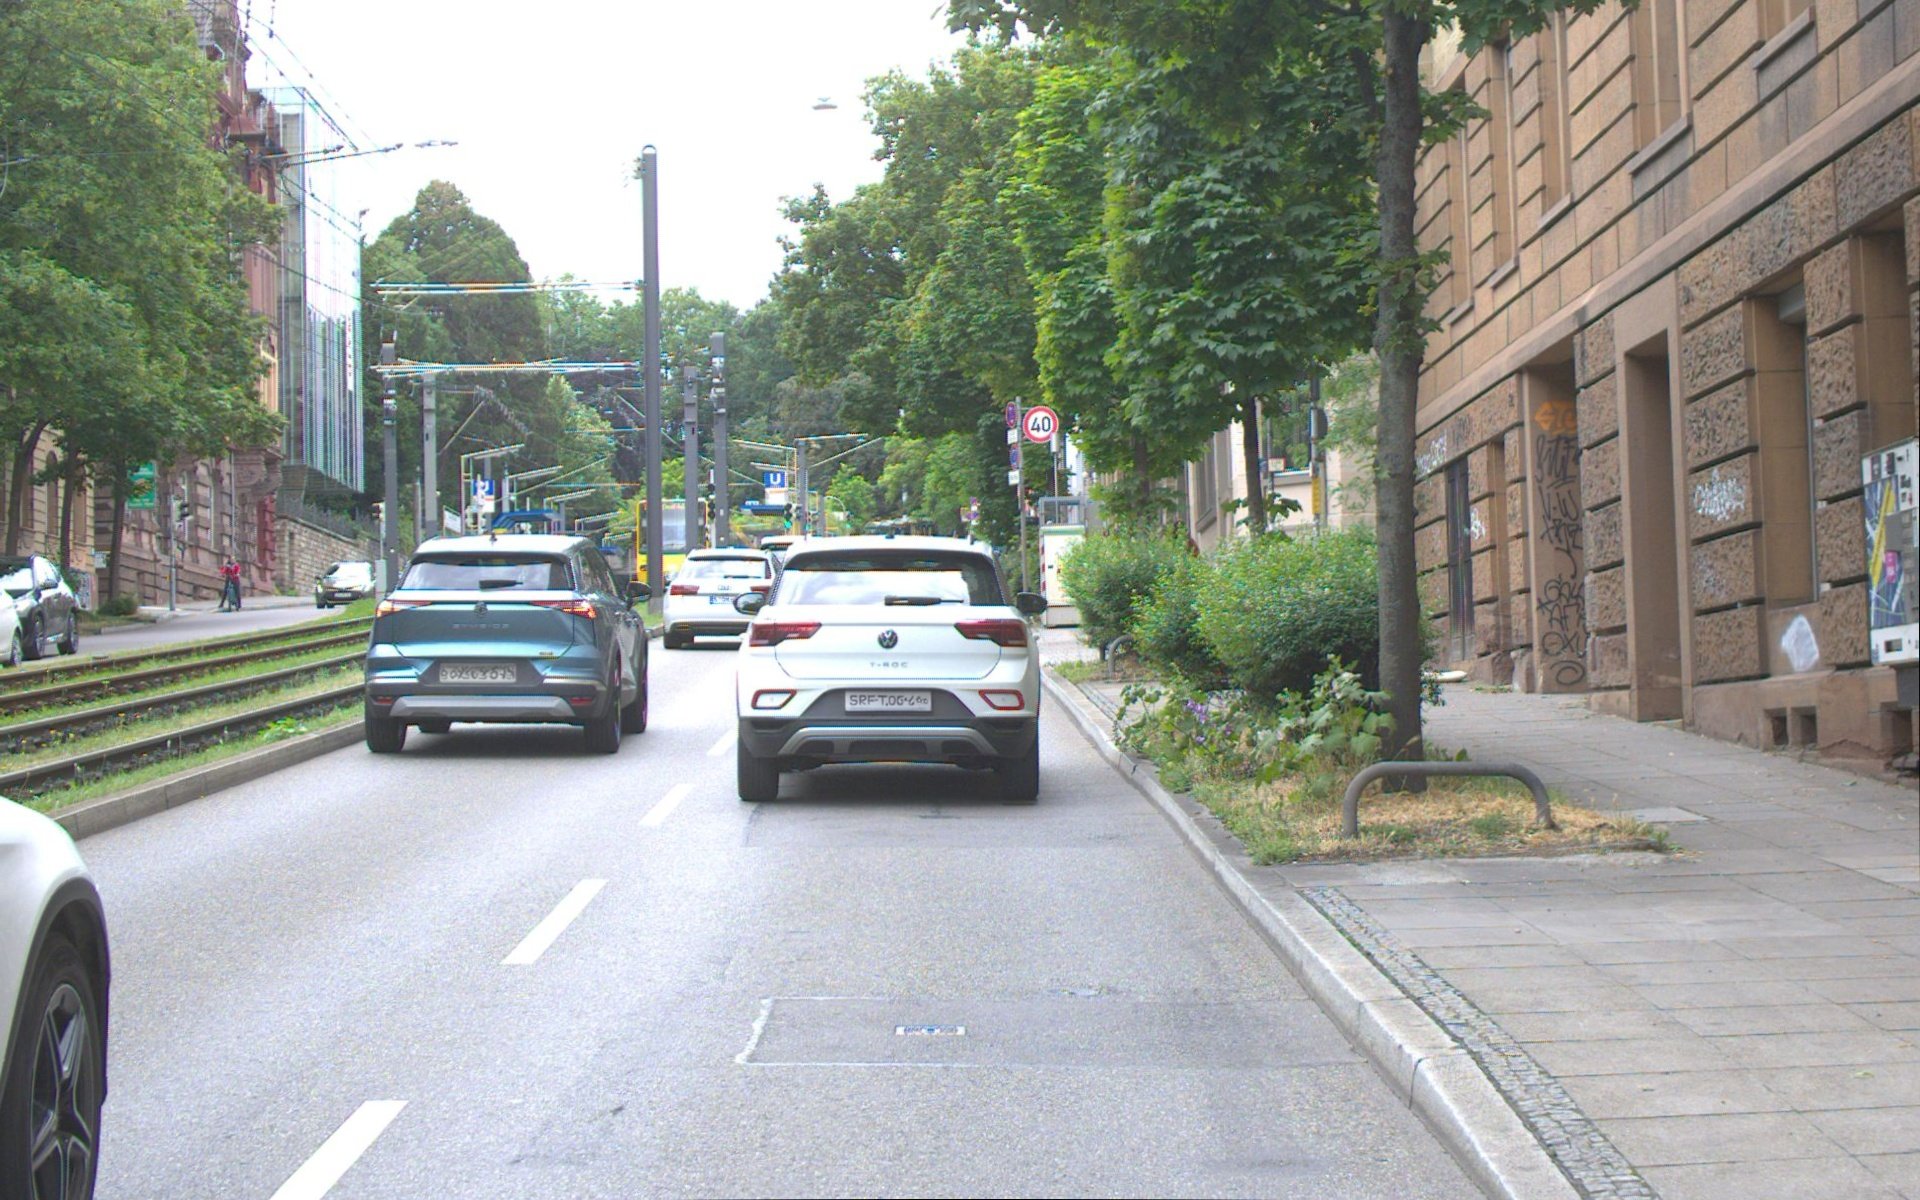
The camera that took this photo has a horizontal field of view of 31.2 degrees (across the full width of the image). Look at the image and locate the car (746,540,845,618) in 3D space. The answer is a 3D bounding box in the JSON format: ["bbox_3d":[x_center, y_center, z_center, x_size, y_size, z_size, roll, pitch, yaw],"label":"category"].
[{"bbox_3d":[-3.346,-0.443,70.738,1.835,1.541,4.194,0,1,0],"label":"car"}]

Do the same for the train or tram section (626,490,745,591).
[{"bbox_3d":[-9.680,-2.105,122.557,2.996,3.337,13.439,-1,1,0],"label":"train or tram section"}]

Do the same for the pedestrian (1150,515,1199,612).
[{"bbox_3d":[3.736,-0.647,59.826,0.710,1.657,1.126,-1,1,10],"label":"pedestrian"}]

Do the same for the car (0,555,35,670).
[{"bbox_3d":[-12.947,0.198,43.482,1.588,1.430,3.413,-3,1,-1],"label":"car"}]

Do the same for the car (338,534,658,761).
[{"bbox_3d":[-3.358,0.293,25.709,1.835,1.541,4.194,0,1,0],"label":"car"}]

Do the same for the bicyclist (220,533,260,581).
[{"bbox_3d":[-21.908,-1.309,104.595,0.938,1.420,1.188,-1,1,0],"label":"bicyclist"}]

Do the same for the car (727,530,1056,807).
[{"bbox_3d":[-0.436,0.351,21.377,1.835,1.541,4.194,0,1,-1],"label":"car"}]

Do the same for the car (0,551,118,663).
[{"bbox_3d":[-14.963,0.103,54.874,1.917,1.644,4.608,-3,1,-1],"label":"car"}]

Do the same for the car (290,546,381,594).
[{"bbox_3d":[-18.885,-0.928,104.123,1.993,1.398,4.000,-1,1,1],"label":"car"}]

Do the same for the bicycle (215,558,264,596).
[{"bbox_3d":[-21.903,-0.709,104.562,0.938,1.096,2.703,-1,1,-1],"label":"bicycle"}]

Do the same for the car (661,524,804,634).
[{"bbox_3d":[-3.314,-0.333,50.828,1.835,1.541,4.194,0,1,0],"label":"car"}]

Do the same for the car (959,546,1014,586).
[{"bbox_3d":[1.004,-1.331,133.325,2.068,1.541,4.194,0,1,0],"label":"car"}]

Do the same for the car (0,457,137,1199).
[{"bbox_3d":[-2.676,0.578,5.133,1.835,1.661,4.671,0,1,-1],"label":"car"}]

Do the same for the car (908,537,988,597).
[{"bbox_3d":[-0.306,-0.886,91.503,2.068,1.541,4.194,0,1,0],"label":"car"}]
